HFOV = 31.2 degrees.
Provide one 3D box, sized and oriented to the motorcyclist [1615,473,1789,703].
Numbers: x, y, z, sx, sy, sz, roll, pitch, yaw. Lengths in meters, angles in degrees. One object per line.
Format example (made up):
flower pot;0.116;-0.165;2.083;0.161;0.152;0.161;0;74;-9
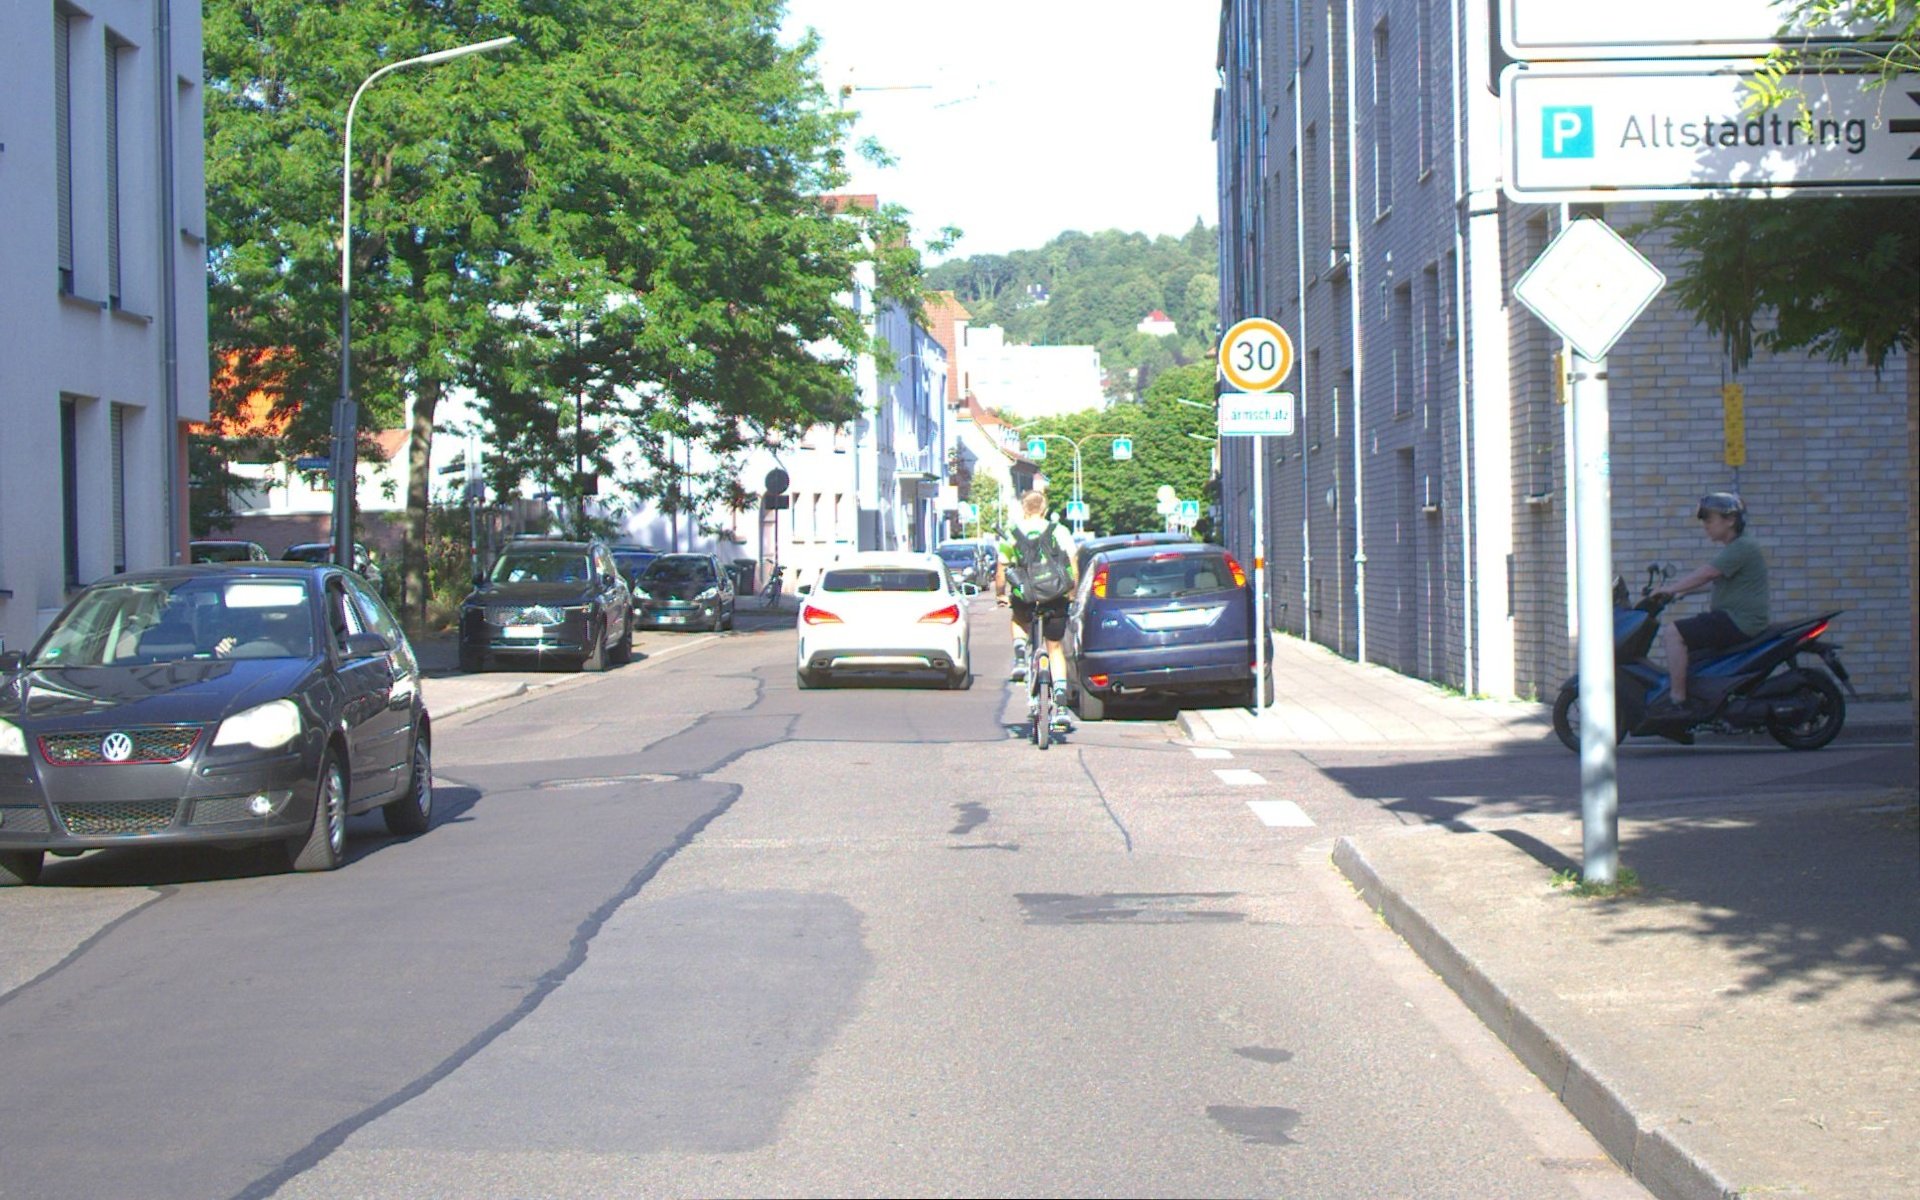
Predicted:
motorcyclist;4.858;-0.082;22.483;0.878;1.467;0.894;-1;1;29

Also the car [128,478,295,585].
car;-11.620;-1.090;53.641;1.857;1.581;4.622;0;2;-4

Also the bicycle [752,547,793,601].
bicycle;-4.459;-0.633;81.847;0.835;1.213;2.842;-1;2;-1

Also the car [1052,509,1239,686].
car;1.872;-0.077;35.675;1.664;1.696;3.914;-1;2;0

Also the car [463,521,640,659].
car;-5.681;-0.191;48.301;1.853;1.785;4.607;-1;2;1

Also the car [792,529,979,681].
car;-0.809;0.020;36.473;1.842;1.486;4.145;-1;1;-2

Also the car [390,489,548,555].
car;-12.457;-1.985;87.281;3.900;1.570;1.710;-1;1;-7

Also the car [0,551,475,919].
car;-3.653;0.569;16.958;1.842;1.486;4.144;-4;1;0

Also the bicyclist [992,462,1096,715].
bicyclist;0.600;-0.092;24.938;0.698;1.784;1.041;-1;1;0

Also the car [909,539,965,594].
car;-0.719;-1.048;105.346;1.664;1.570;3.914;-1;2;-1

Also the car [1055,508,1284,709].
car;1.832;0.038;31.147;1.629;1.581;4.070;-5;1;-1

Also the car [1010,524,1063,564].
car;3.379;-2.481;151.479;1.945;1.581;4.621;-4;1;5

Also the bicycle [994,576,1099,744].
bicycle;0.613;0.408;24.974;0.698;1.126;2.403;-1;1;0

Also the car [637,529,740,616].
car;-5.229;-0.552;66.589;1.704;1.570;3.914;-1;2;-1

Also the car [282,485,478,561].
car;-12.681;-1.695;75.310;3.901;1.570;1.710;-1;1;5

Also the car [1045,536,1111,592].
car;3.994;-1.241;116.780;1.853;1.785;4.608;-1;2;-3

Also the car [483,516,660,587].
car;-9.113;-1.142;80.814;3.901;1.570;1.710;-1;1;2

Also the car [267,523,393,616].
car;-11.947;-0.607;65.395;1.789;1.684;3.965;0;2;-2

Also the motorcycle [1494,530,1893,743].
motorcycle;4.796;0.243;22.524;2.338;1.276;0.894;-3;0;29
